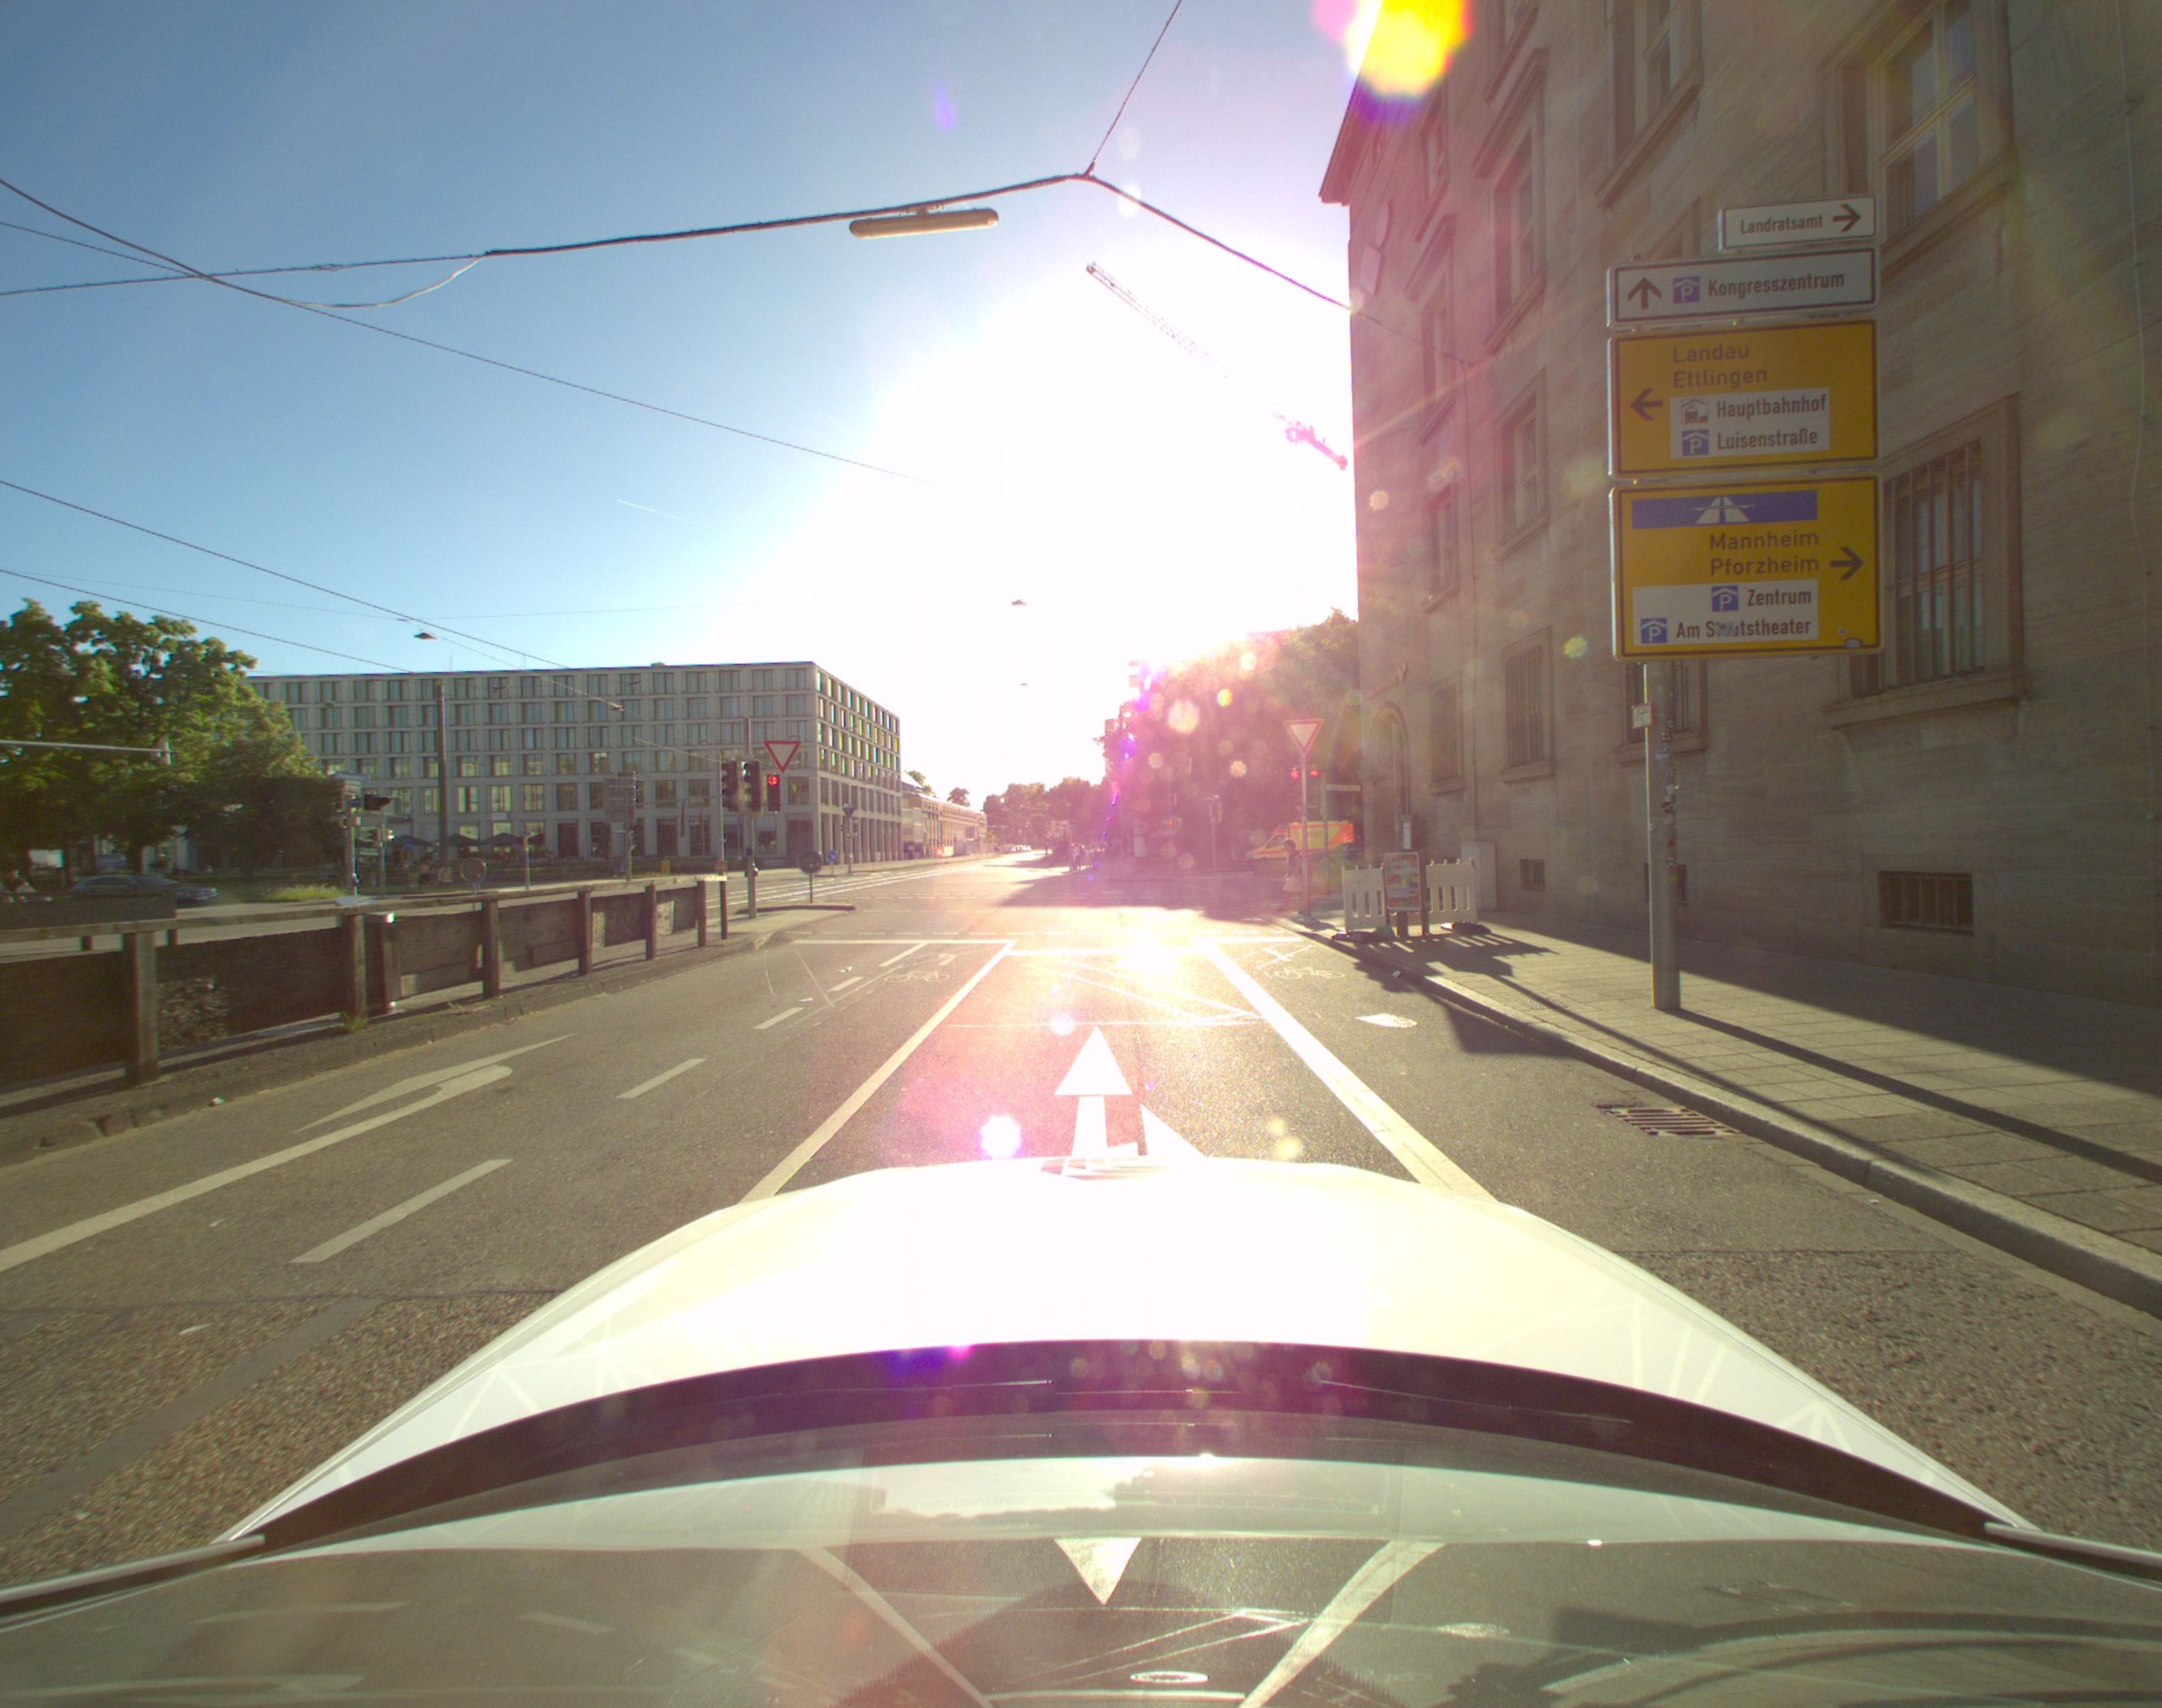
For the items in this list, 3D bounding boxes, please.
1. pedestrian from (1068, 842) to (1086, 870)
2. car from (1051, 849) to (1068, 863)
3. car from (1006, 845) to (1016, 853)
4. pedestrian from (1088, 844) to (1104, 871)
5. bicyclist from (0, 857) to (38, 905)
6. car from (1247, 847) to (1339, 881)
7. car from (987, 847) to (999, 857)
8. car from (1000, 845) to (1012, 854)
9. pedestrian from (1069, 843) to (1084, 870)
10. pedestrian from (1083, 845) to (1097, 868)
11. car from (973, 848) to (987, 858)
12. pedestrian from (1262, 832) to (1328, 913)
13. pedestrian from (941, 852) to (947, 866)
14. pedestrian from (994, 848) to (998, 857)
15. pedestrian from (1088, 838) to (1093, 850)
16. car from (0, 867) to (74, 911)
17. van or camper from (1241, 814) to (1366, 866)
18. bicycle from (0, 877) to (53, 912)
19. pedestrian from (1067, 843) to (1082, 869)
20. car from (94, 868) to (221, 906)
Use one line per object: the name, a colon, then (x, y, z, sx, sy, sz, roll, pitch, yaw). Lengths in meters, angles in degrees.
pedestrian: (-0.257, 0.127, 53.992, 0.967, 1.784, 0.776, -2, 0, -15)
car: (-2.444, 0.220, 91.914, 1.678, 1.501, 3.510, 0, -1, 2)
car: (-14.581, -0.994, 169.501, 1.604, 1.498, 3.807, -2, 0, 2)
pedestrian: (0.992, 0.231, 55.183, 0.849, 1.784, 0.776, -2, 0, -15)
bicyclist: (-35.636, 0.888, 27.284, 0.615, 1.582, 0.595, -2, 0, 6)
car: (10.774, 0.511, 41.621, 4.298, 1.647, 1.889, 0, -1, 2)
car: (-16.572, -0.397, 153.723, 1.813, 1.712, 3.807, -2, 0, 2)
car: (-15.262, -0.855, 165.413, 1.813, 1.712, 3.807, -2, 0, 2)
pedestrian: (-0.311, 0.179, 55.681, 0.849, 1.784, 0.776, -2, 0, -15)
pedestrian: (0.633, 0.189, 55.872, 0.763, 1.558, 0.585, -2, 0, -15)
car: (-17.698, -0.234, 142.865, 1.813, 1.712, 3.807, -2, 0, 2)
pedestrian: (4.737, 0.399, 18.057, 1.039, 1.721, 1.032, -2, 0, -10)
pedestrian: (-13.344, 0.463, 79.511, 0.509, 1.329, 0.370, -1, 0, 3)
pedestrian: (-13.044, -0.249, 124.739, 0.522, 1.484, 0.437, 0, -1, 0)
pedestrian: (2.953, -3.102, 255.075, 1.396, 3.597, 1.568, 0, -1, 1)
car: (-39.613, 1.289, 29.823, 3.519, 1.506, 1.522, -1, 0, -1)
van or camper: (12.767, -0.769, 47.274, 6.674, 2.861, 2.915, 0, -1, 6)
bicycle: (-35.745, 1.363, 27.225, 1.913, 1.122, 0.791, -2, 0, 6)
pedestrian: (-0.430, 0.149, 56.507, 0.849, 1.784, 0.776, -2, 0, -15)
car: (-38.737, 1.366, 34.211, 3.519, 1.506, 1.522, -1, 0, -1)
